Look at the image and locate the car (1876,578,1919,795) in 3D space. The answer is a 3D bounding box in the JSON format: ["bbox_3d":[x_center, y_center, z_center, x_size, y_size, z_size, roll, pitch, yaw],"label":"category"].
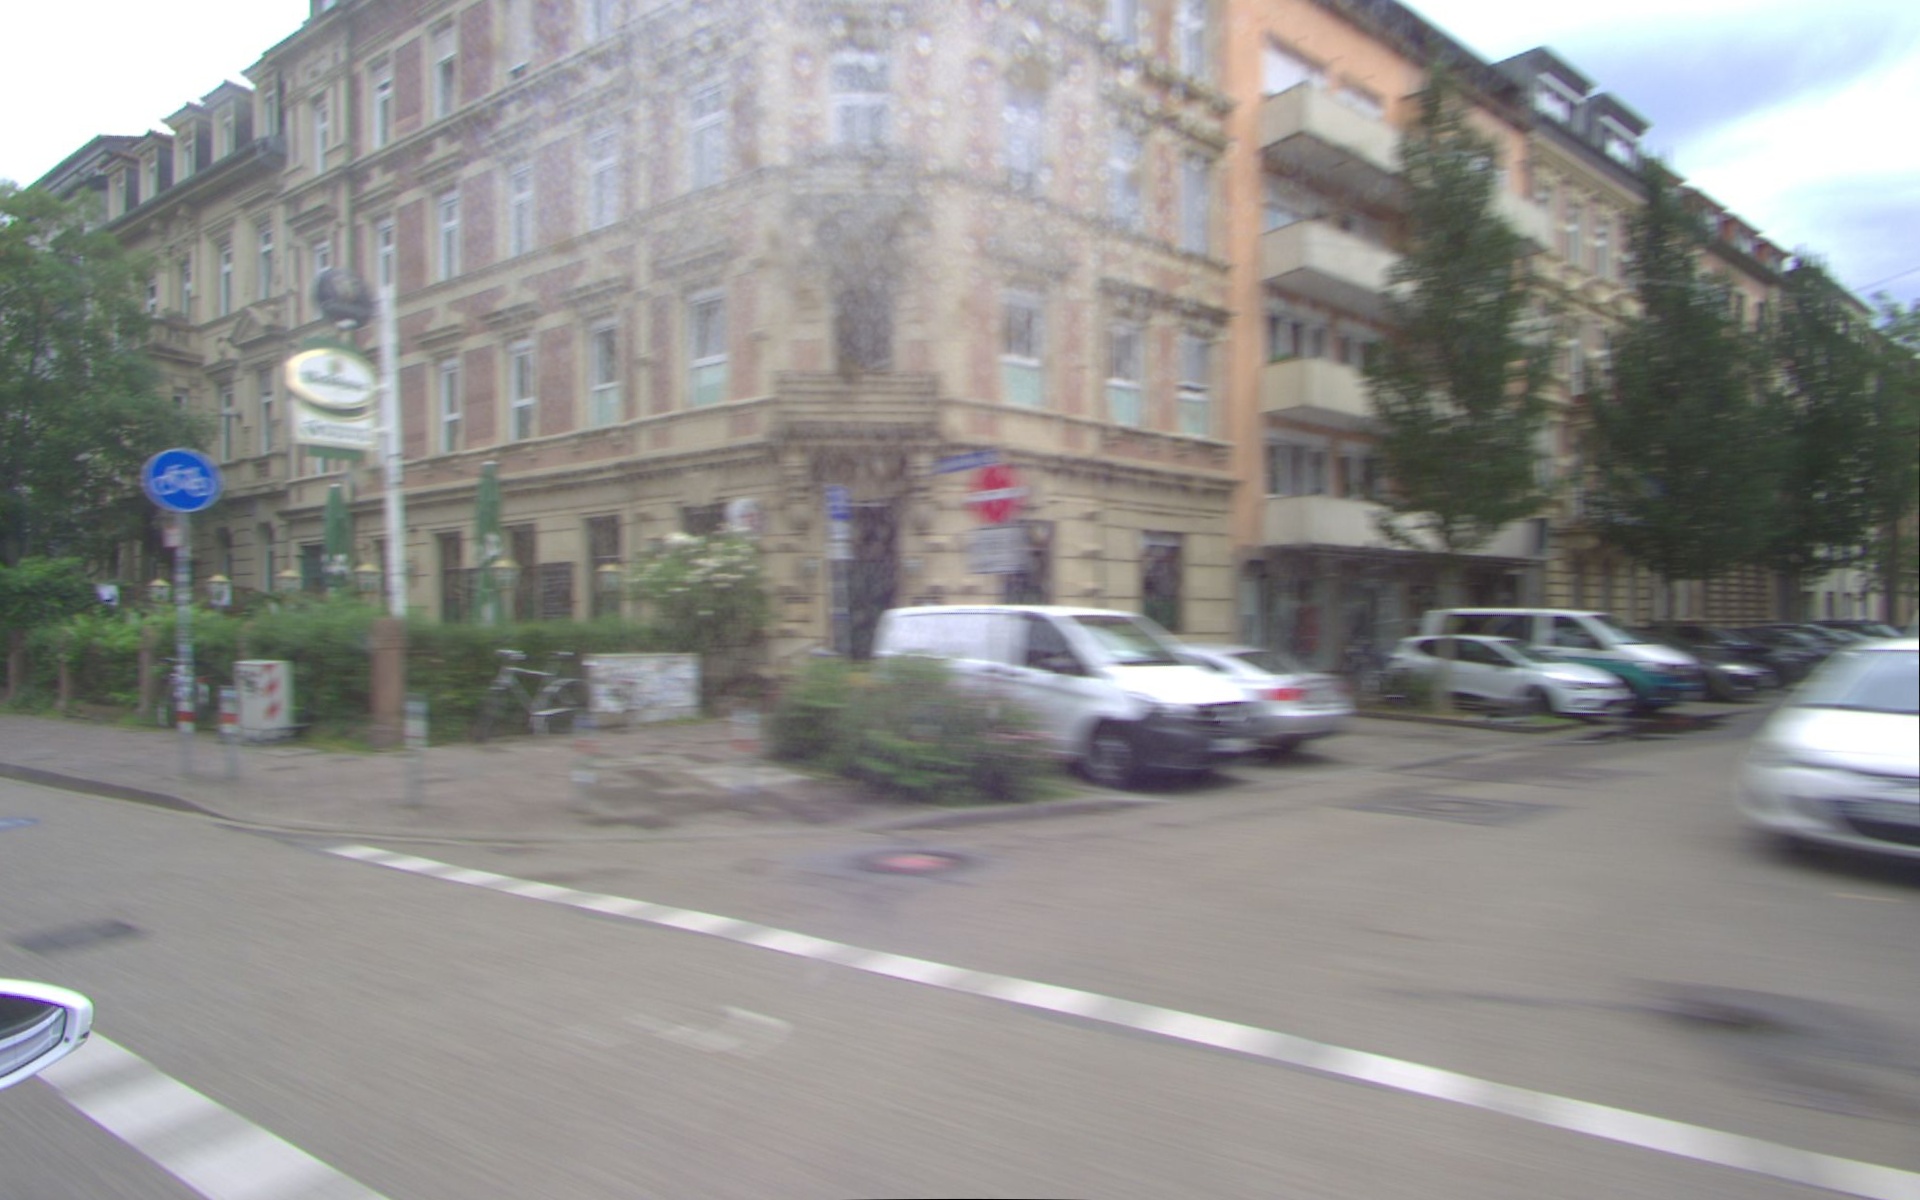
[{"bbox_3d":[10.989,0.812,9.889,4.686,1.964,1.962,1,0,-36],"label":"car"}]

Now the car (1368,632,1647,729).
[{"bbox_3d":[9.980,1.410,18.565,1.751,1.539,4.189,0,-2,-34],"label":"car"}]

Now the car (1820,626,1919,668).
[{"bbox_3d":[34.430,1.710,37.087,1.433,1.502,3.649,1,-2,-32],"label":"car"}]

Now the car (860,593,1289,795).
[{"bbox_3d":[1.132,0.954,11.939,2.039,1.902,4.981,1,-2,-43],"label":"car"}]

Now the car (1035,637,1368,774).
[{"bbox_3d":[3.028,1.244,13.143,1.684,1.384,3.960,1,0,-44],"label":"car"}]

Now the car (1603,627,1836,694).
[{"bbox_3d":[19.228,1.475,25.566,1.878,1.572,4.385,1,-2,-33],"label":"car"}]

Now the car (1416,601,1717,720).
[{"bbox_3d":[11.842,1.148,19.895,1.871,2.071,4.758,0,-2,-36],"label":"car"}]

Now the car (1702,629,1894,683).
[{"bbox_3d":[24.062,1.564,28.902,1.586,1.460,3.976,1,-2,-33],"label":"car"}]

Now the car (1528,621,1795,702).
[{"bbox_3d":[15.721,1.320,22.697,1.974,1.631,4.573,1,-2,-34],"label":"car"}]

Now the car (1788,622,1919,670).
[{"bbox_3d":[32.889,1.639,36.223,1.688,1.631,4.209,1,-2,-31],"label":"car"}]

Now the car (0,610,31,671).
[{"bbox_3d":[-31.070,1.251,30.350,1.783,1.882,3.979,-1,-1,32],"label":"car"}]

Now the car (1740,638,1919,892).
[{"bbox_3d":[7.132,1.018,6.990,3.773,1.449,1.660,1,-1,-35],"label":"car"}]

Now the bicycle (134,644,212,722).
[{"bbox_3d":[-11.416,1.182,14.514,1.822,1.055,0.301,-1,-1,33],"label":"bicycle"}]

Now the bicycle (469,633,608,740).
[{"bbox_3d":[-5.439,1.082,12.979,0.507,1.294,1.595,-1,-1,43],"label":"bicycle"}]

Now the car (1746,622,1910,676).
[{"bbox_3d":[27.561,1.515,31.899,1.587,1.618,3.684,1,-2,-35],"label":"car"}]
